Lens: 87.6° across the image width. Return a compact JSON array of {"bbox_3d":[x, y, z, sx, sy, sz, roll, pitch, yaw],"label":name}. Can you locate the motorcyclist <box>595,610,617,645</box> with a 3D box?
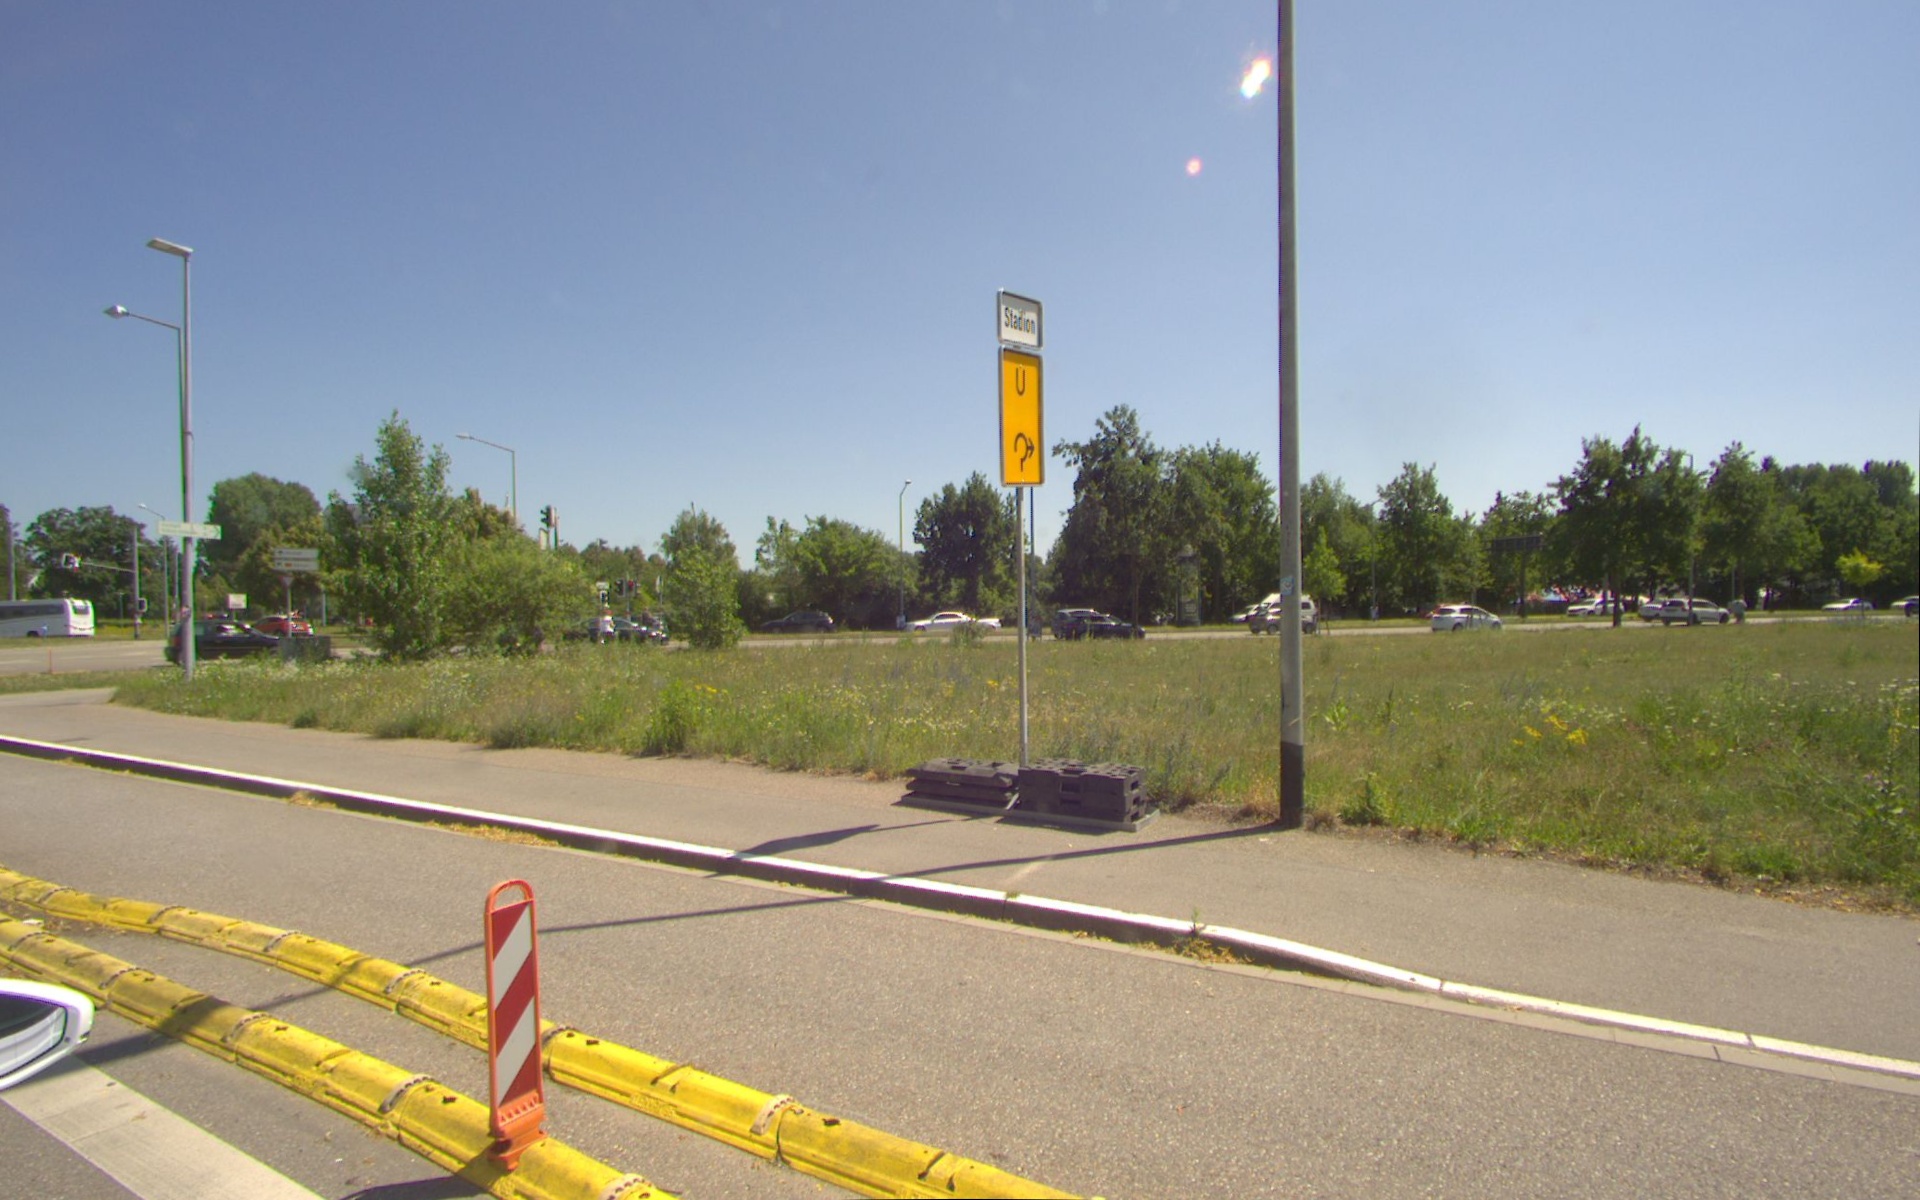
[{"bbox_3d":[-13.159,1.027,37.227,0.570,1.306,0.615,0,-1,3],"label":"motorcyclist"}]

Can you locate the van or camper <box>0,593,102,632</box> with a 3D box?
[{"bbox_3d":[-65.702,0.918,70.948,7.367,2.728,2.513,0,-1,-5],"label":"van or camper"}]

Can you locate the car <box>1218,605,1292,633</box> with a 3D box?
[{"bbox_3d":[21.876,1.411,74.242,4.993,2.040,1.997,0,-1,-15],"label":"car"}]

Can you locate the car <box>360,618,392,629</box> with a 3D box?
[{"bbox_3d":[-87.455,3.515,149.967,1.963,1.736,3.997,0,-1,14],"label":"car"}]

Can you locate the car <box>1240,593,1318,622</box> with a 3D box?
[{"bbox_3d":[22.666,0.562,71.168,4.993,2.040,1.997,0,-1,-15],"label":"car"}]

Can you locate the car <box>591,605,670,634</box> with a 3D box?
[{"bbox_3d":[-19.600,1.162,59.751,4.298,1.739,1.998,0,-1,-13],"label":"car"}]

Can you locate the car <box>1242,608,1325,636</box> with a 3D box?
[{"bbox_3d":[18.231,1.249,56.415,4.187,1.543,1.819,0,-1,-17],"label":"car"}]

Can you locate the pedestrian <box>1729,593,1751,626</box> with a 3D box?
[{"bbox_3d":[38.130,0.483,48.943,0.724,1.583,0.497,0,0,-18],"label":"pedestrian"}]

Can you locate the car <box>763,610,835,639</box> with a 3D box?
[{"bbox_3d":[-10.406,1.547,64.545,4.521,1.829,1.998,0,-1,-12],"label":"car"}]

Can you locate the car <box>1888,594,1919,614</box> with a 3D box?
[{"bbox_3d":[85.606,0.353,89.556,3.927,1.739,1.998,0,-1,-14],"label":"car"}]

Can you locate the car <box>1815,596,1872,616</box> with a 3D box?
[{"bbox_3d":[80.758,0.555,91.568,3.927,1.739,1.998,0,-1,-14],"label":"car"}]

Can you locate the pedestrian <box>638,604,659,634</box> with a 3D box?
[{"bbox_3d":[-16.549,1.029,53.220,0.813,1.583,0.788,-1,-1,42],"label":"pedestrian"}]

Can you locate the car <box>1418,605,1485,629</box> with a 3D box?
[{"bbox_3d":[38.364,1.348,78.199,4.521,1.874,1.998,0,-1,-14],"label":"car"}]

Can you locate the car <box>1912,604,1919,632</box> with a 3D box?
[{"bbox_3d":[70.348,1.285,71.252,3.927,2.040,1.998,0,-1,-14],"label":"car"}]

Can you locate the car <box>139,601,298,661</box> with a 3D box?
[{"bbox_3d":[-24.357,0.994,32.975,1.979,1.839,3.966,-1,-1,43],"label":"car"}]

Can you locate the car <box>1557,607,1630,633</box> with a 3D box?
[{"bbox_3d":[49.750,1.579,78.708,4.993,2.040,1.997,0,-1,-15],"label":"car"}]

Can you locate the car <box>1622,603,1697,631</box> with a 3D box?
[{"bbox_3d":[47.030,1.153,67.364,4.189,1.839,1.996,0,-1,-18],"label":"car"}]

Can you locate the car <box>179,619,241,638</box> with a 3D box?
[{"bbox_3d":[-56.773,2.149,75.797,3.722,1.442,1.655,0,-1,9],"label":"car"}]

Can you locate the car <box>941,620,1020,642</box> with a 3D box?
[{"bbox_3d":[1.395,2.096,68.158,4.993,1.505,1.998,0,-1,-15],"label":"car"}]

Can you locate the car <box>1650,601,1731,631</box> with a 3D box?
[{"bbox_3d":[45.405,1.000,62.268,4.189,1.839,1.996,0,-1,-18],"label":"car"}]

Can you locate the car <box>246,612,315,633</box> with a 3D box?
[{"bbox_3d":[-43.093,1.420,63.519,3.727,1.317,1.653,-1,-1,18],"label":"car"}]

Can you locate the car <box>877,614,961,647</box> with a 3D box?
[{"bbox_3d":[-2.612,1.915,63.476,4.993,2.040,1.997,0,-1,-15],"label":"car"}]

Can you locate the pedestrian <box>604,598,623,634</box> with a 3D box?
[{"bbox_3d":[-18.375,0.858,53.048,0.726,1.894,0.648,-1,-1,34],"label":"pedestrian"}]

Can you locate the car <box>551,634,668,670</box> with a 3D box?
[{"bbox_3d":[-15.173,2.212,43.507,4.480,1.466,1.809,1,-1,-38],"label":"car"}]

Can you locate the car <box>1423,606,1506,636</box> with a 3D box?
[{"bbox_3d":[27.747,1.147,55.086,3.939,1.641,1.678,0,-1,-14],"label":"car"}]

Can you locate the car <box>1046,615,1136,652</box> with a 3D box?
[{"bbox_3d":[6.336,1.608,48.562,3.929,1.750,1.787,0,-1,-16],"label":"car"}]

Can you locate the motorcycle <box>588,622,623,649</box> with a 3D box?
[{"bbox_3d":[-13.133,1.318,37.182,0.619,0.982,1.709,0,-1,3],"label":"motorcycle"}]
